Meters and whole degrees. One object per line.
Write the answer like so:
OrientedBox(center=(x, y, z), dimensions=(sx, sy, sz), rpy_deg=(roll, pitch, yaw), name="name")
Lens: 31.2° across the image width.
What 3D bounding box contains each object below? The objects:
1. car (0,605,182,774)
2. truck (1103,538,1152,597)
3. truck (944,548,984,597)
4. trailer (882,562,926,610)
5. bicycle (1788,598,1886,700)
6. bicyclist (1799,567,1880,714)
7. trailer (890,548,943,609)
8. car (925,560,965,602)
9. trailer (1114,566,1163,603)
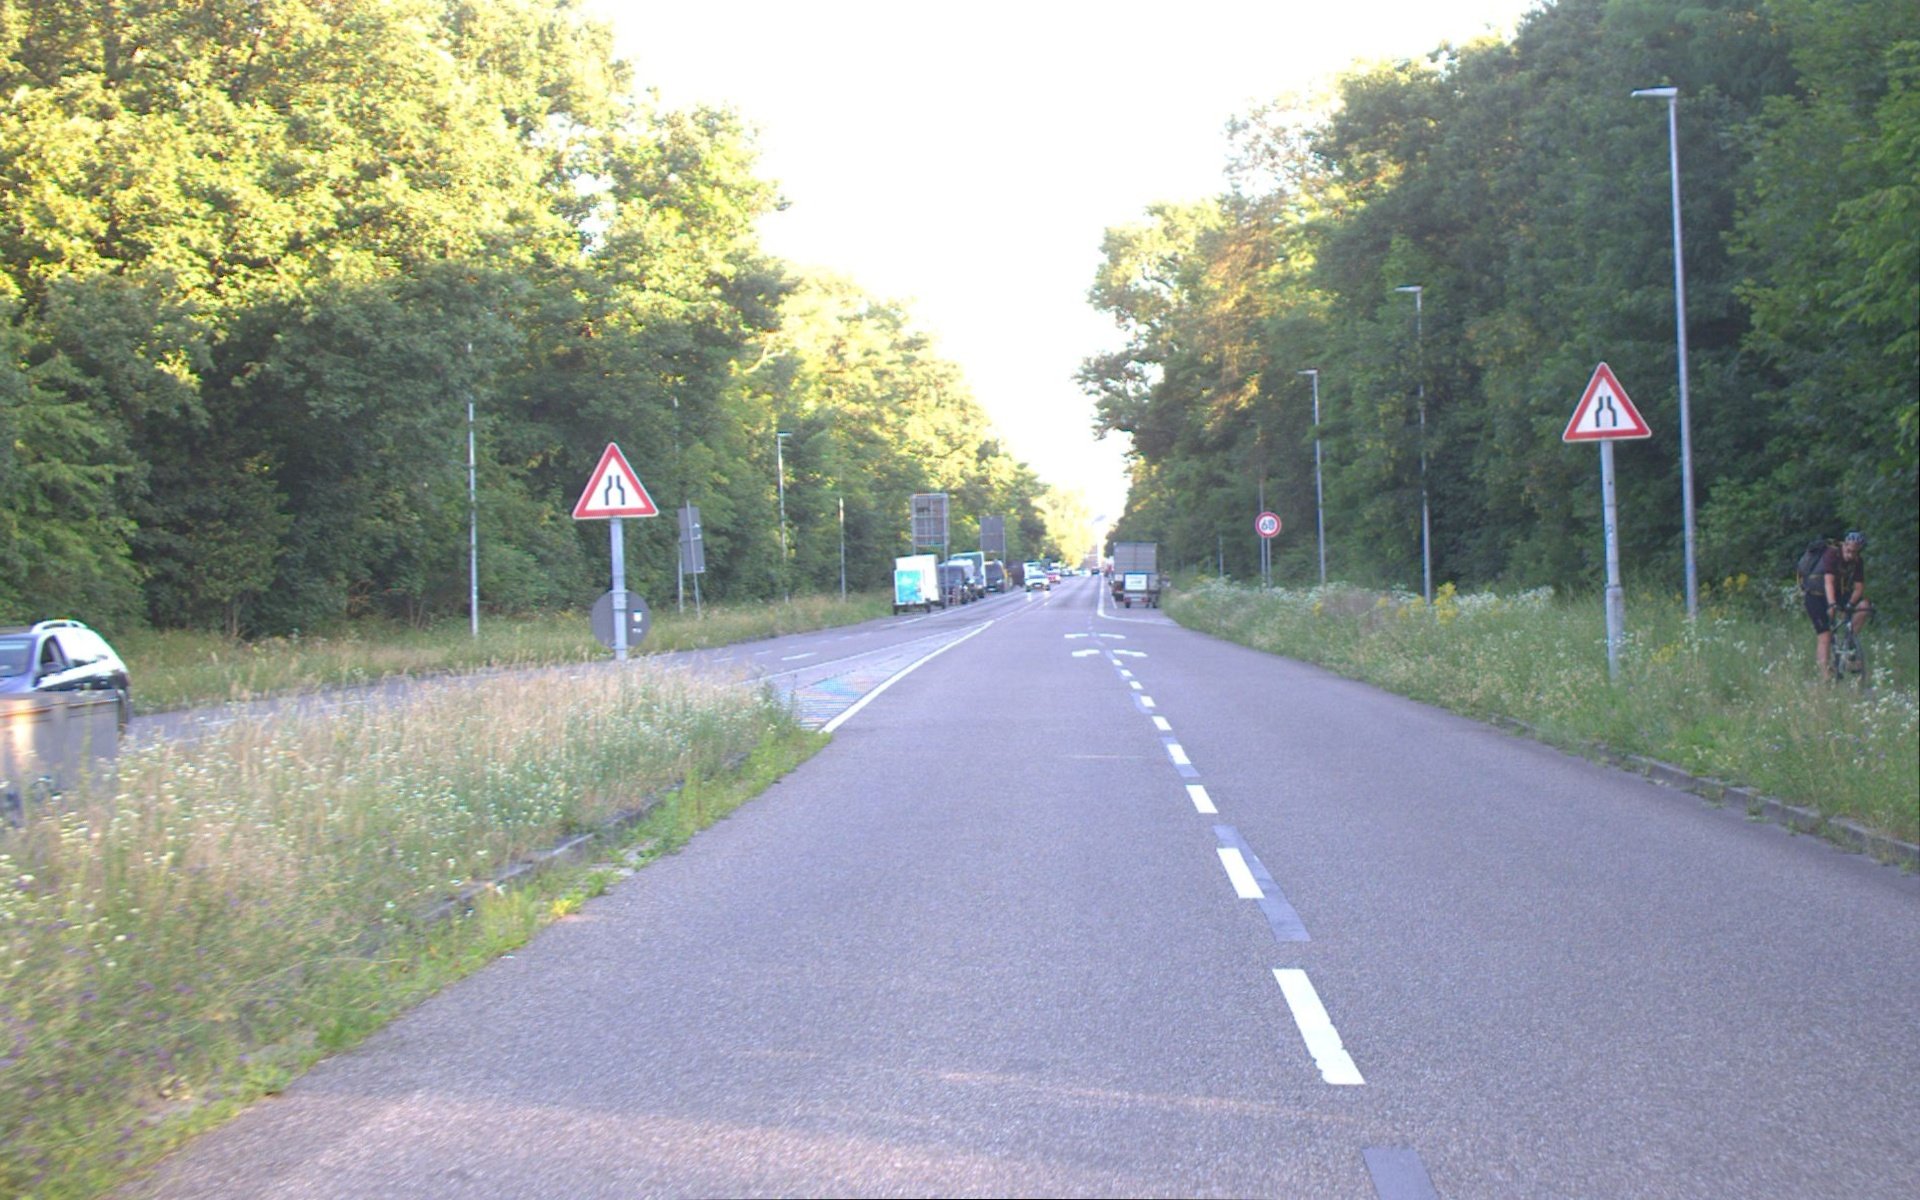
OrientedBox(center=(-9.525, 0.898, 34.759), dimensions=(1.820, 1.528, 4.454), rpy_deg=(-3, 0, 6), name="car")
OrientedBox(center=(9.390, -1.819, 192.409), dimensions=(2.589, 3.244, 7.219), rpy_deg=(0, 0, 4), name="truck")
OrientedBox(center=(0.307, -1.965, 244.747), dimensions=(2.504, 3.317, 6.841), rpy_deg=(-2, 1, 2), name="truck")
OrientedBox(center=(-2.598, -0.654, 160.756), dimensions=(1.817, 2.160, 4.143), rpy_deg=(-2, 0, 1), name="trailer")
OrientedBox(center=(8.902, 0.490, 34.958), dimensions=(0.611, 0.992, 1.691), rpy_deg=(-2, 0, 3), name="bicycle")
OrientedBox(center=(8.913, 0.402, 34.854), dimensions=(0.603, 1.450, 0.780), rpy_deg=(-2, 0, 3), name="bicyclist")
OrientedBox(center=(-2.221, -1.126, 176.363), dimensions=(2.326, 2.914, 5.627), rpy_deg=(-4, 0, 2), name="trailer")
OrientedBox(center=(-0.875, -1.130, 202.761), dimensions=(1.994, 2.356, 5.765), rpy_deg=(-4, 0, 2), name="car")
OrientedBox(center=(8.315, -0.732, 160.023), dimensions=(1.457, 1.656, 3.774), rpy_deg=(-2, 0, 15), name="trailer")
